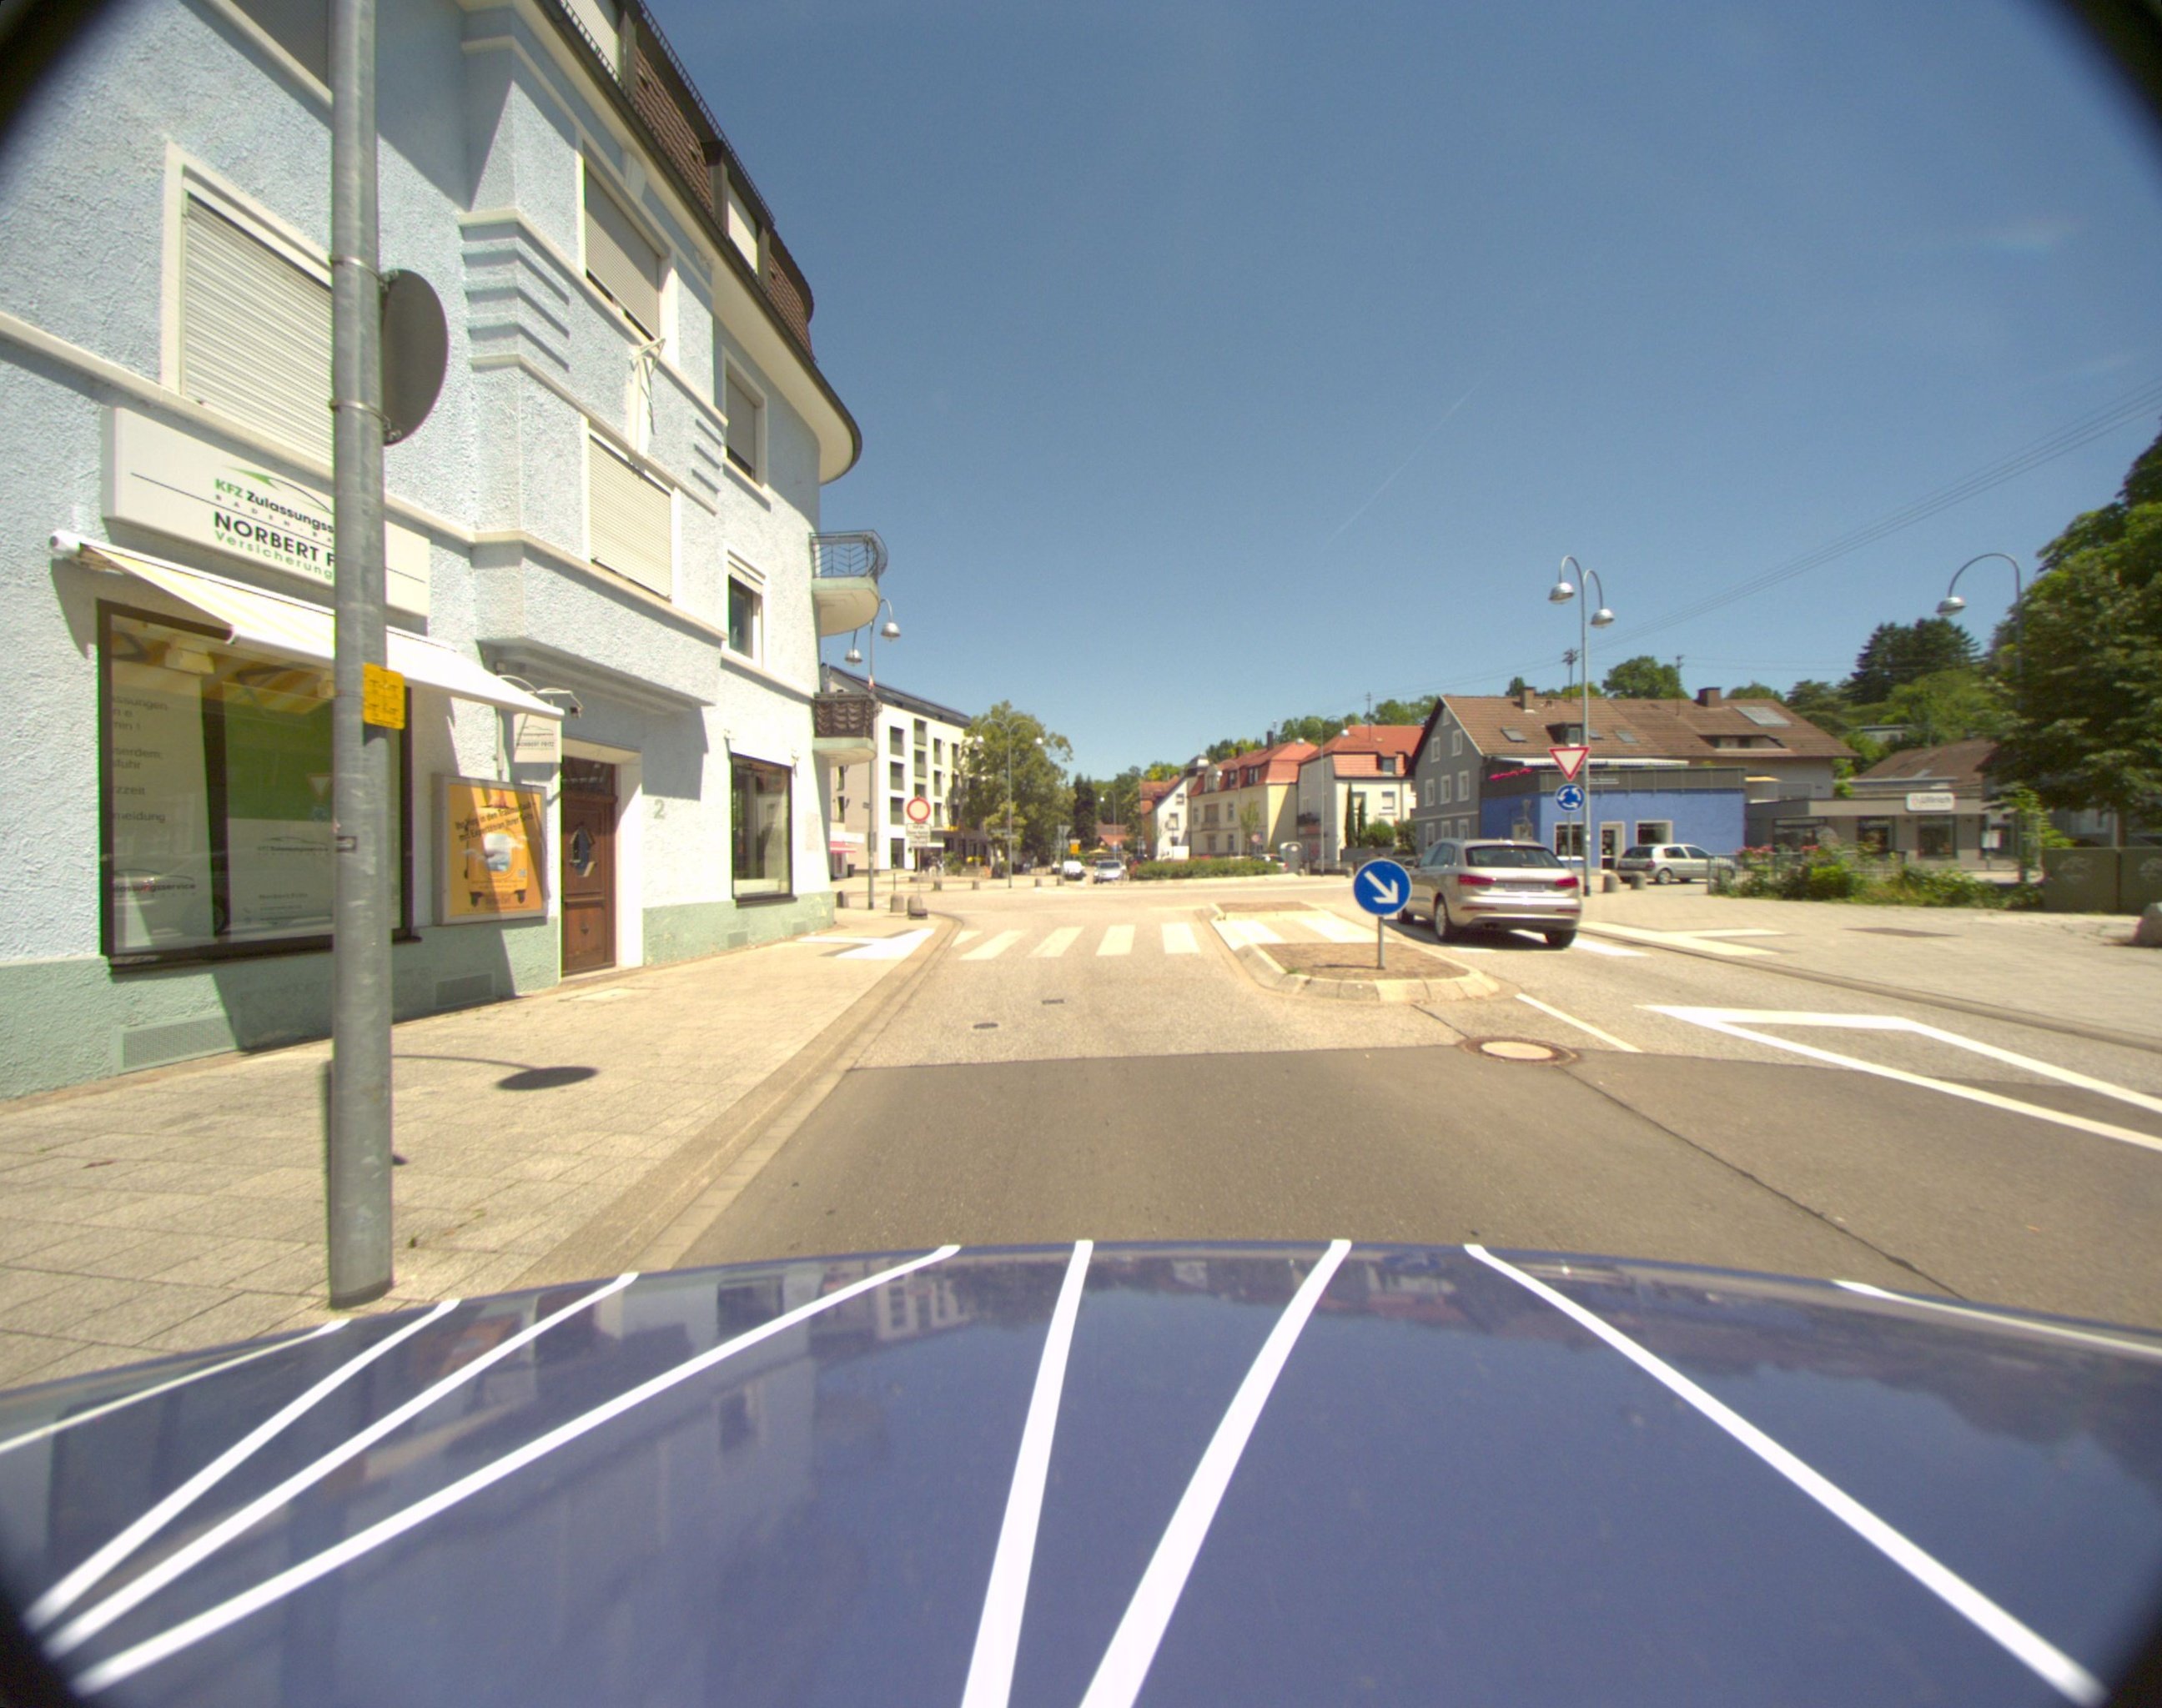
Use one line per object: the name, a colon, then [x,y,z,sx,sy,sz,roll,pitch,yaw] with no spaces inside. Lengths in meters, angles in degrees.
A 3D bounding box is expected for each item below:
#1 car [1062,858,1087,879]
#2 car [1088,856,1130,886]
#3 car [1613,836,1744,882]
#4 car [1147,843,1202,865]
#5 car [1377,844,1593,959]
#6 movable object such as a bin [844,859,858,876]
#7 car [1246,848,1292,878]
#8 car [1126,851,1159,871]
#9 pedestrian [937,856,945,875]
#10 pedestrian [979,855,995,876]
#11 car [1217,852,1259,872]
car: [-0.525,1.080,58.539,1.796,1.515,3.999,-1,0,-2]
car: [1.805,1.010,46.765,1.997,1.646,4.207,-1,0,10]
car: [20.929,0.185,26.654,3.719,1.404,1.549,-2,-2,-13]
car: [12.337,-0.018,100.638,7.043,2.727,2.378,-1,0,1]
car: [6.279,0.626,12.376,1.678,1.534,4.085,1,1,6]
movable object such as a bin: [-17.194,0.976,56.822,0.746,1.245,0.838,-1,0,7]
car: [10.634,0.552,43.212,1.744,1.507,4.211,-3,-3,4]
car: [6.522,0.699,80.689,2.002,2.002,3.992,-2,2,-20]
pedestrian: [-11.529,0.935,62.537,0.450,1.609,0.451,-1,0,3]
pedestrian: [-7.642,0.940,61.813,0.816,1.639,0.953,-1,1,36]
car: [12.073,0.587,58.686,1.609,1.384,4.074,-4,1,-11]
